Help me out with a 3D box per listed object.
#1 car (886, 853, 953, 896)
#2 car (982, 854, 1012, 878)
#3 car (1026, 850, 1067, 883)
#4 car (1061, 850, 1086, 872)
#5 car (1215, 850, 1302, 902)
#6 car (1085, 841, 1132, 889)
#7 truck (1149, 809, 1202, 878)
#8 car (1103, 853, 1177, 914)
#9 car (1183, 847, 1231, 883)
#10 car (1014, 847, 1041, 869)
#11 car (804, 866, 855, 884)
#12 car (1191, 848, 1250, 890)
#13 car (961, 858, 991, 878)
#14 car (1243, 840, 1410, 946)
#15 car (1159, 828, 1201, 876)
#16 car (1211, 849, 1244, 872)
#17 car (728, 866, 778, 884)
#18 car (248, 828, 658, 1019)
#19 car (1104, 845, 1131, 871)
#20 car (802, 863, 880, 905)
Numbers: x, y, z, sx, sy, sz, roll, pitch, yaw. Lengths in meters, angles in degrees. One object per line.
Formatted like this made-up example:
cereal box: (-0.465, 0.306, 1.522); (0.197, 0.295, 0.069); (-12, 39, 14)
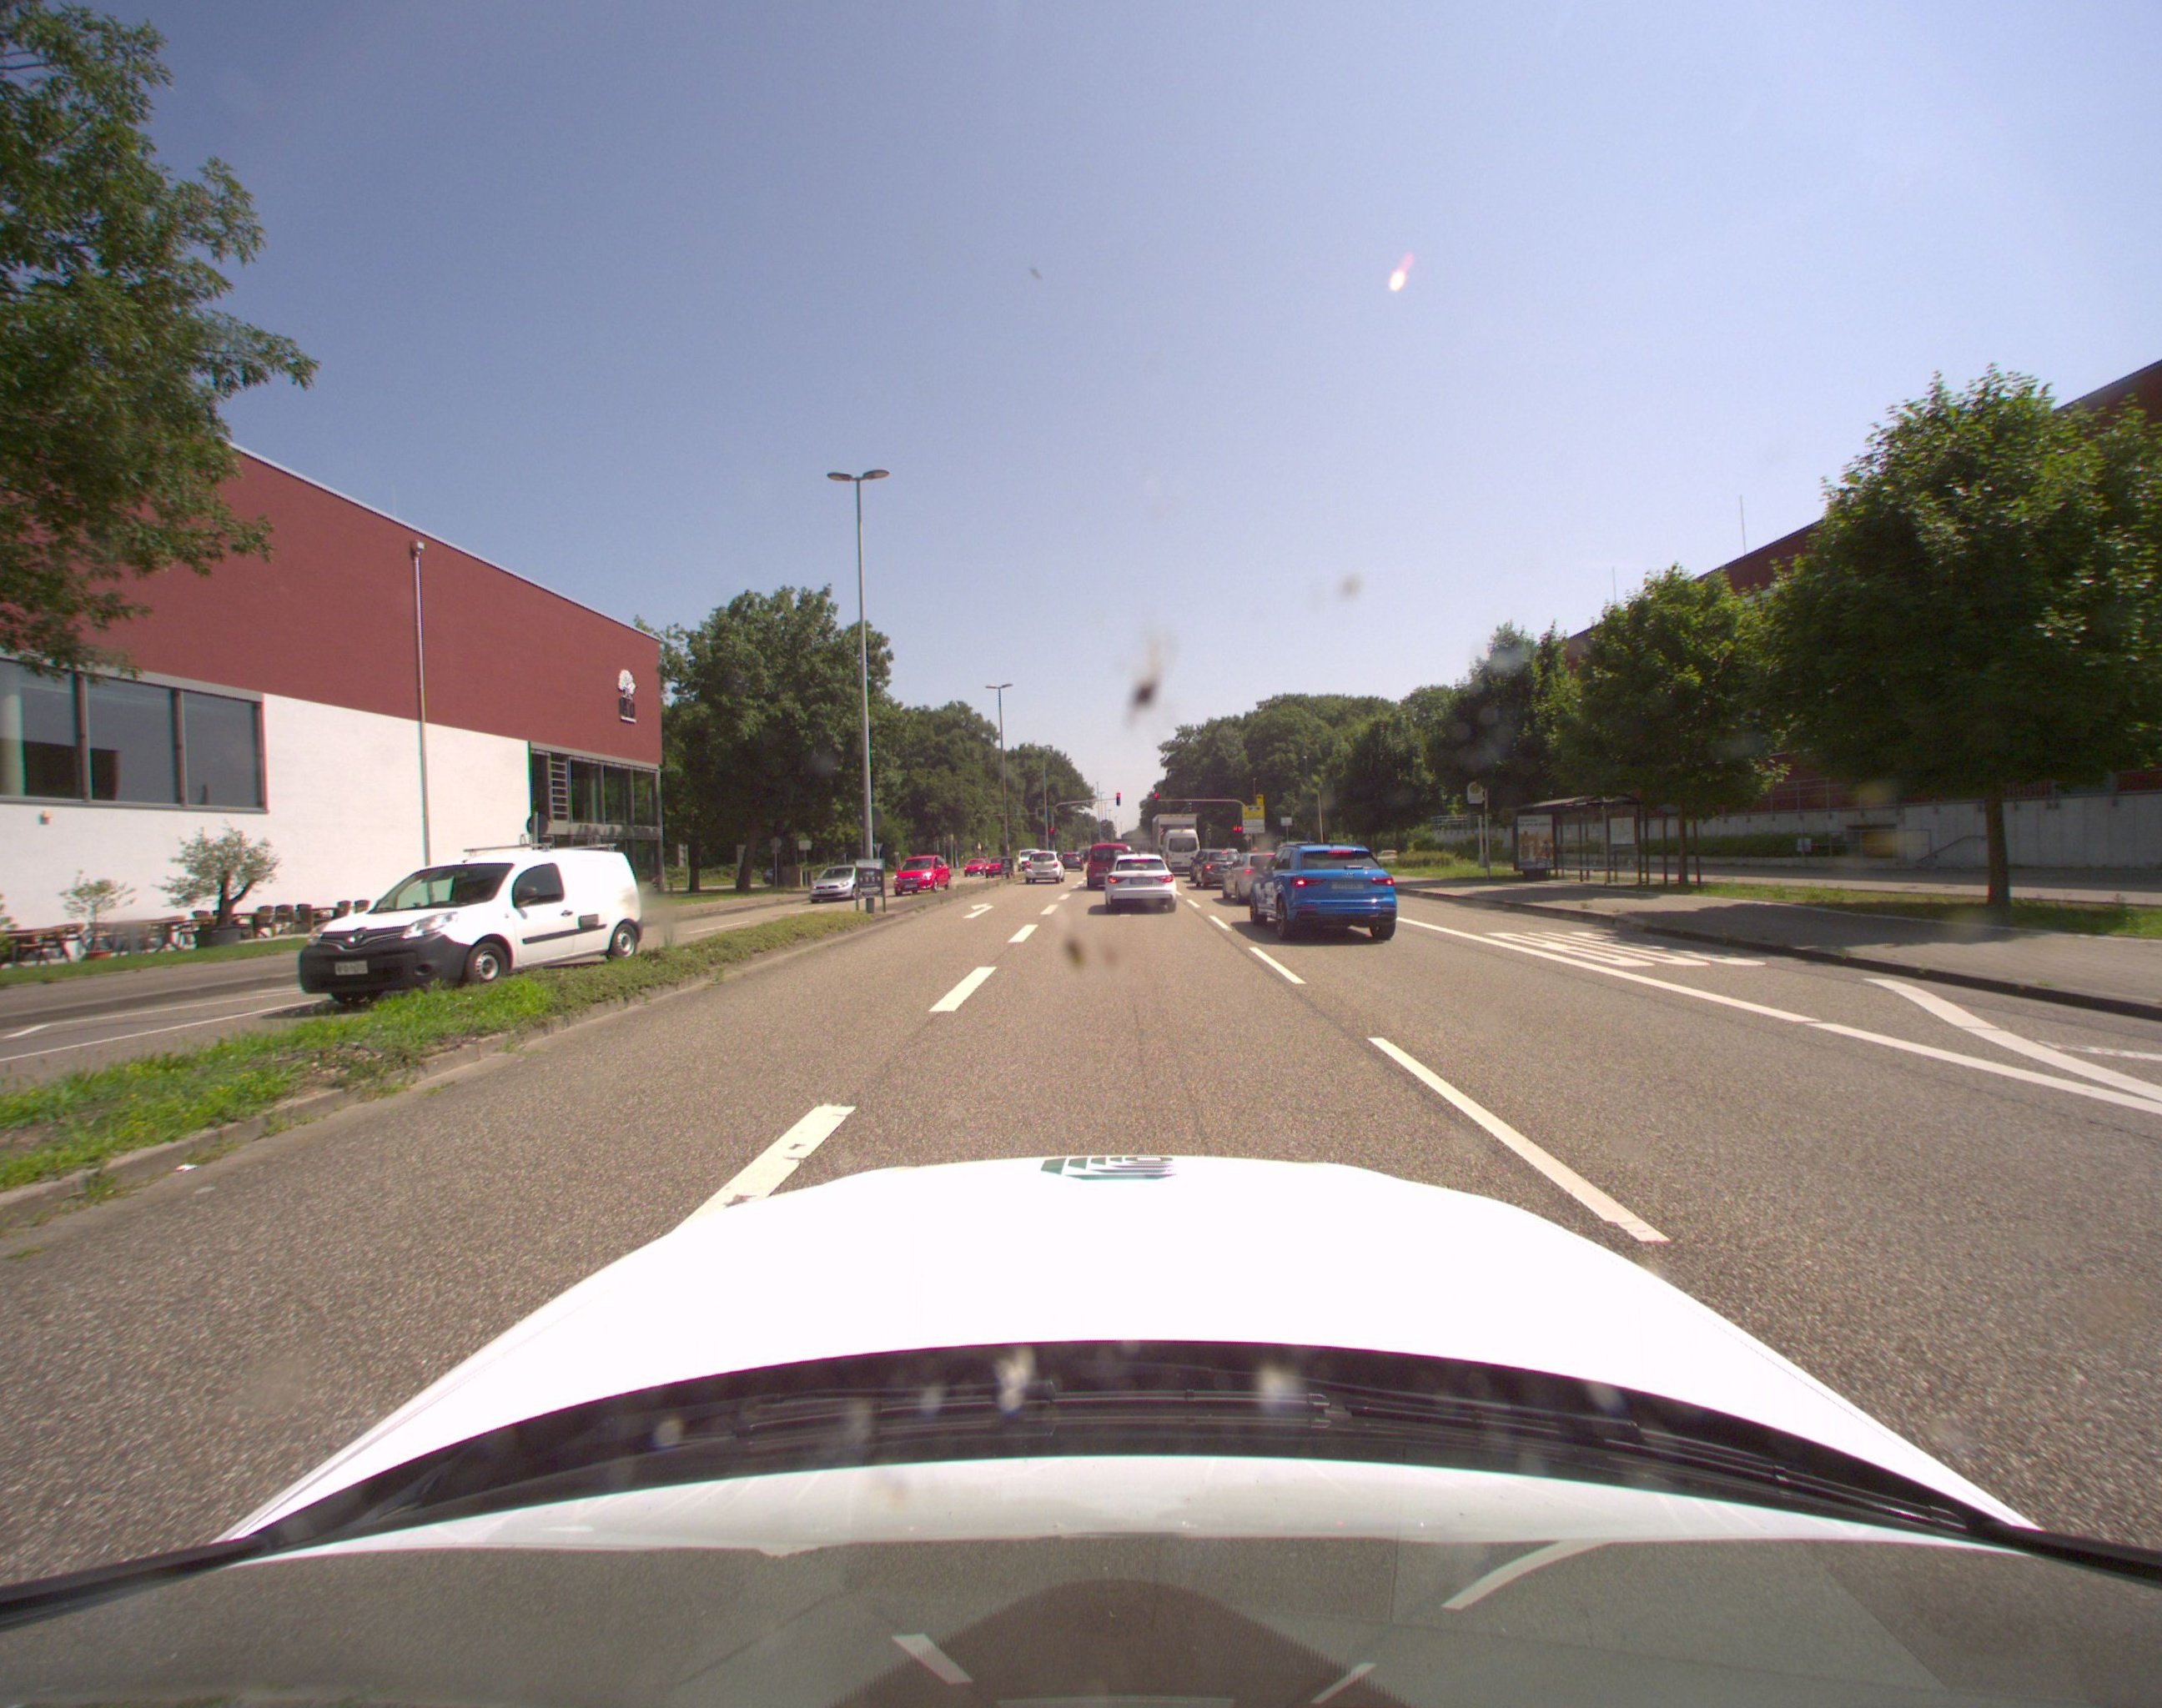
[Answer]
car: (-6.831, 0.834, 34.775); (1.742, 1.569, 4.156); (-4, 0, 2)
car: (-5.882, 0.817, 57.213); (1.575, 1.441, 3.610); (-4, 0, 1)
car: (-1.630, 0.585, 39.597); (1.705, 1.492, 4.093); (-1, 0, 1)
car: (-0.528, 0.510, 62.717); (1.768, 1.641, 4.038); (-1, 0, 1)
car: (5.003, 0.576, 23.477); (1.705, 1.362, 4.093); (0, 0, 1)
car: (1.086, 0.411, 32.615); (1.705, 1.748, 4.093); (-1, 0, 1)
truck: (6.694, -0.711, 59.206); (3.075, 4.434, 11.589); (-1, 0, 3)
car: (1.449, 0.683, 21.166); (1.705, 1.386, 4.093); (-1, 0, 1)
car: (5.875, 0.476, 38.385); (1.705, 1.593, 4.093); (-1, 0, 1)
car: (-5.040, 0.366, 77.304); (1.986, 1.945, 4.910); (-4, 0, 2)
car: (-24.273, 2.057, 78.751); (4.364, 1.681, 1.807); (0, -1, -5)
car: (5.417, 0.550, 32.014); (1.705, 1.478, 4.093); (1, 0, 1)
car: (-8.790, 1.181, 68.648); (1.698, 1.452, 3.894); (-5, 0, 3)
car: (4.246, 0.597, 14.831); (1.830, 1.596, 4.402); (-1, 0, 2)
car: (5.793, -0.123, 47.950); (2.023, 2.644, 4.848); (-1, 0, 2)
car: (10.434, 0.417, 58.232); (1.705, 1.546, 4.093); (-1, 0, 1)
car: (-33.050, 2.102, 82.199); (4.368, 1.681, 1.805); (0, -1, -9)
car: (-7.912, 0.736, 10.977); (1.845, 1.905, 4.428); (-5, 0, 2)
car: (2.370, 0.265, 54.170); (1.705, 1.631, 4.093); (-1, 0, 1)
car: (-9.893, 1.202, 33.840); (1.742, 1.451, 4.136); (-4, 0, 2)
